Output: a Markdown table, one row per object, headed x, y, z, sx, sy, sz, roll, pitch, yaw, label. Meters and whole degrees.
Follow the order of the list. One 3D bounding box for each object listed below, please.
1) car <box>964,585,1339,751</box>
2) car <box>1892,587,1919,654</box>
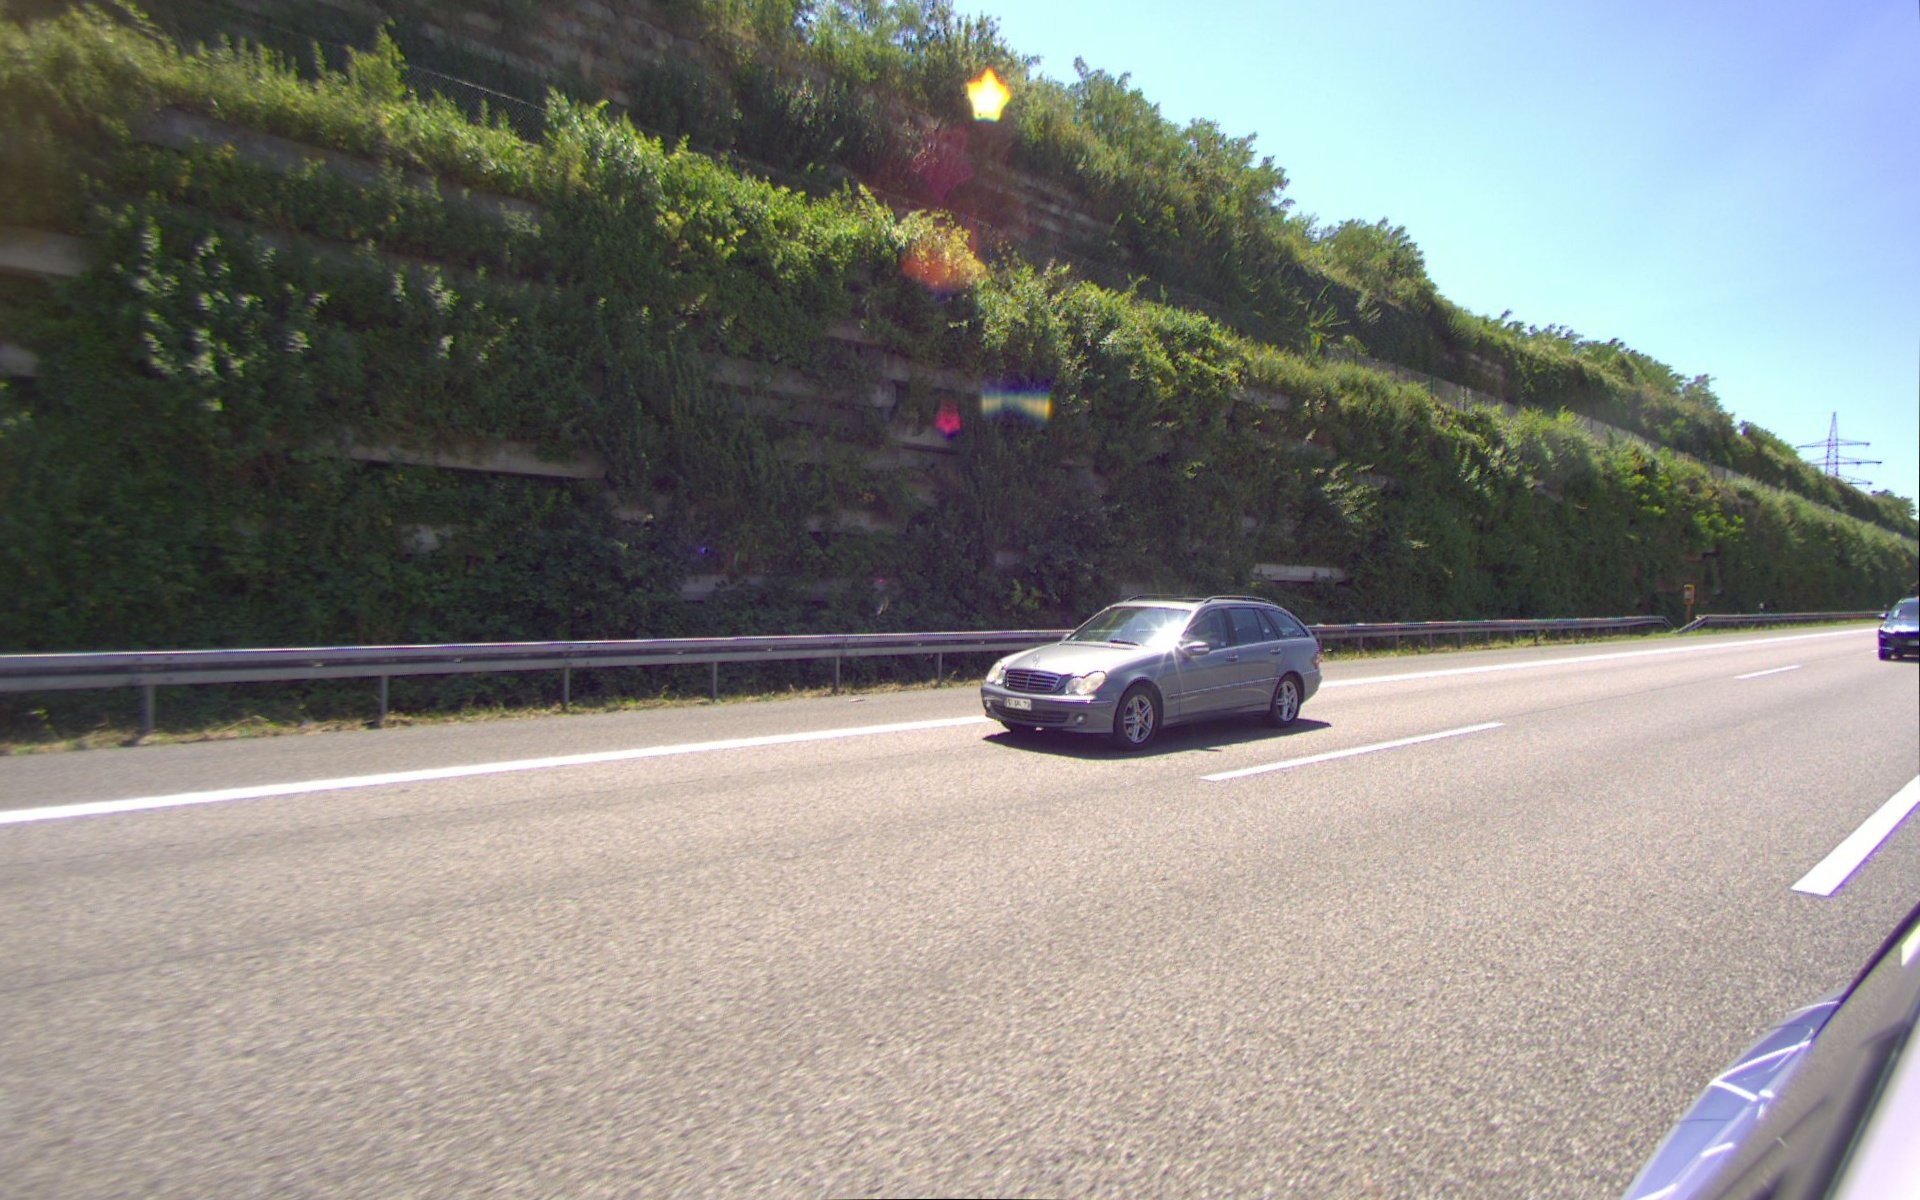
| x | y | z | sx | sy | sz | roll | pitch | yaw | label |
| --- | --- | --- | --- | --- | --- | --- | --- | --- | --- |
| 2.232 | 0.584 | 10.963 | 4.376 | 1.446 | 1.687 | 0 | 1 | -42 | car |
| 25.814 | 0.517 | 26.393 | 4.066 | 1.674 | 1.797 | 0 | 1 | -41 | car |
